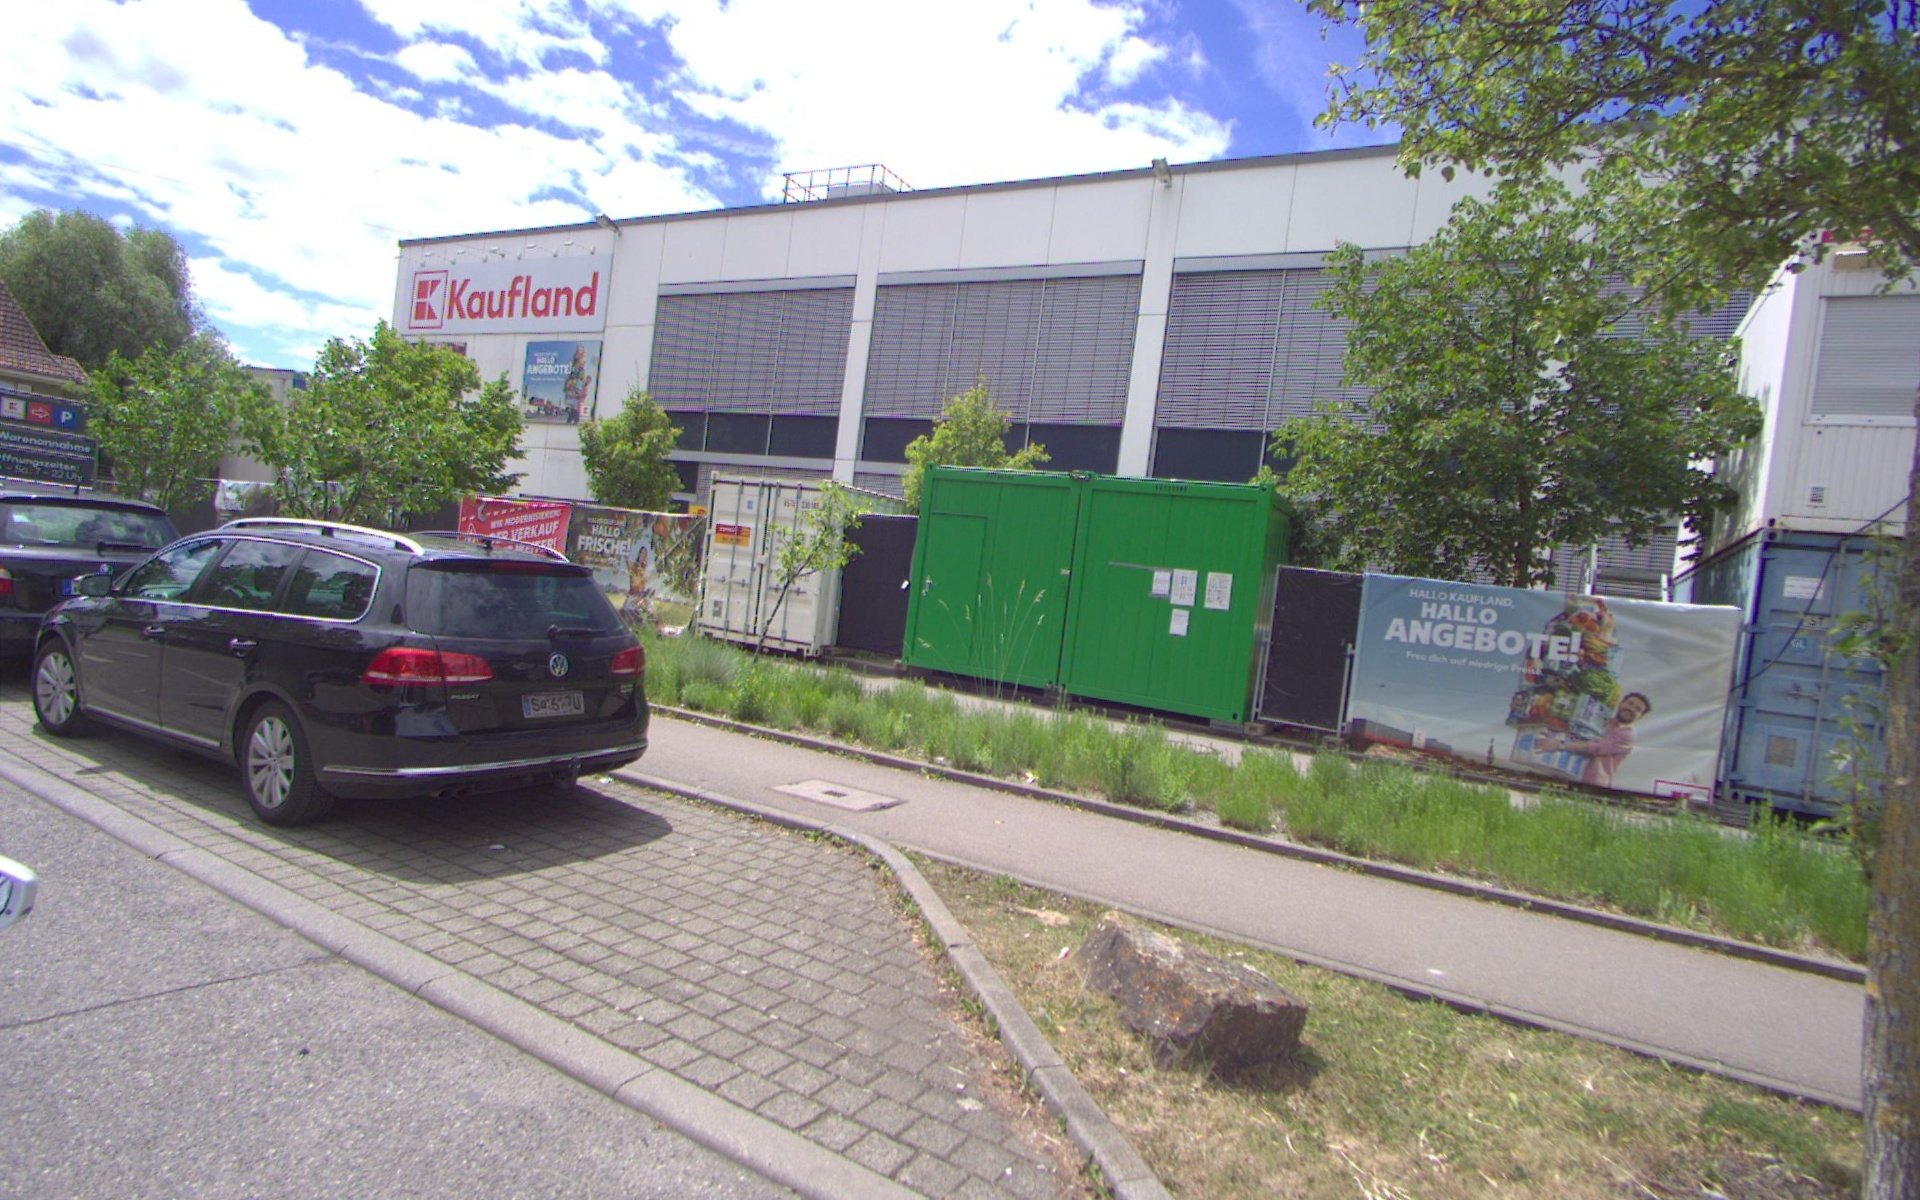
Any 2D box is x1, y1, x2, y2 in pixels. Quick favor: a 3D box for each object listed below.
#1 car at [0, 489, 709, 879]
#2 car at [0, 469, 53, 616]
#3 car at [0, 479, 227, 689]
[{"bbox_3d":[-4.030,0.238,6.281,4.852,1.497,1.765,6,3,30],"label":"car"},{"bbox_3d":[-12.743,-0.849,11.999,4.314,1.638,1.736,6,3,32],"label":"car"},{"bbox_3d":[-8.248,-0.268,8.810,3.934,1.512,1.569,6,2,32],"label":"car"}]
